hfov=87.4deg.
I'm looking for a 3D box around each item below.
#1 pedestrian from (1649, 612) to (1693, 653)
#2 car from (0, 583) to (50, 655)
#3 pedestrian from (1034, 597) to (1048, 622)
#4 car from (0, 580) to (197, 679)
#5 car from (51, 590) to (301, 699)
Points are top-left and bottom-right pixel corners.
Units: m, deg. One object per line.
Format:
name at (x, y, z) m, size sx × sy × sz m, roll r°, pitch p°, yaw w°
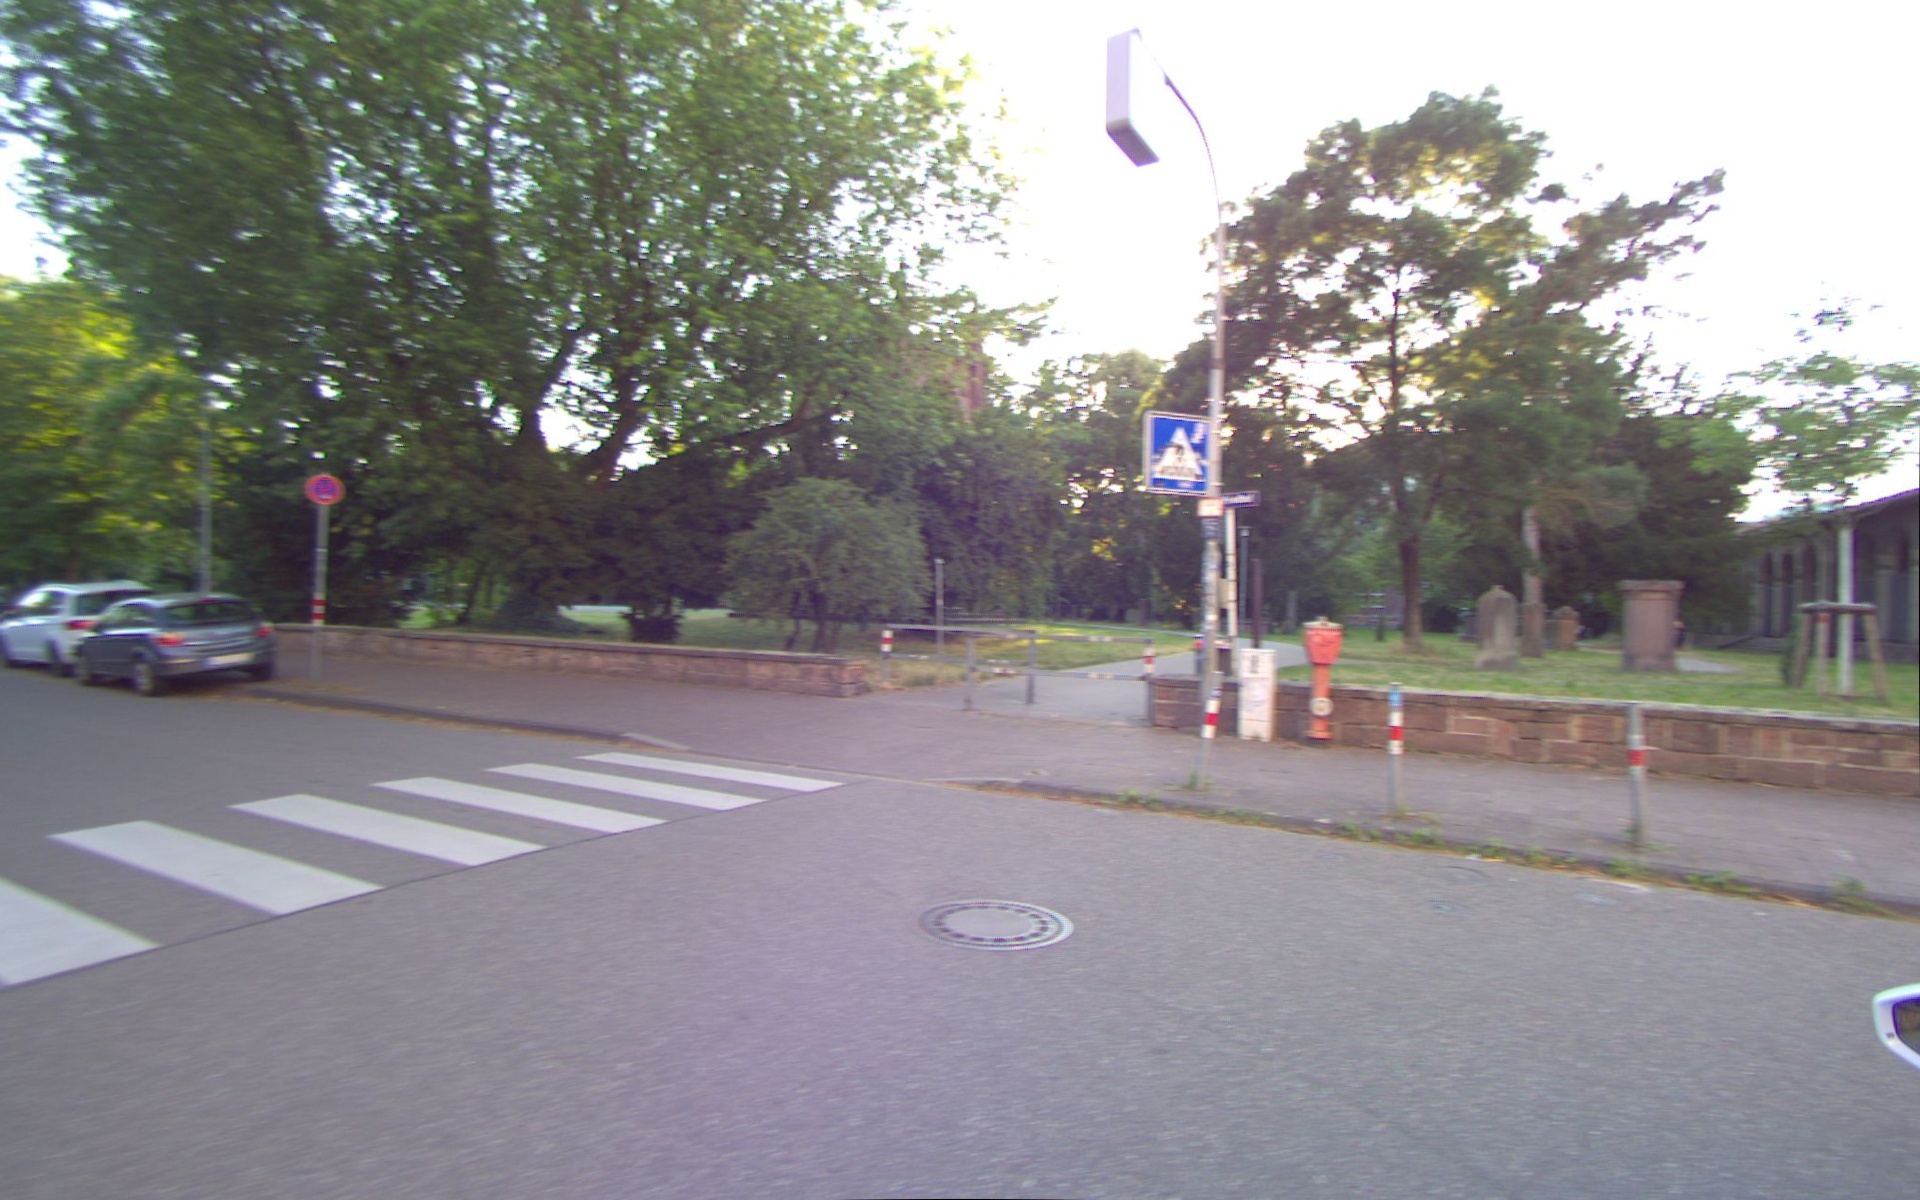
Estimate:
pedestrian at (25.895, 1.189, 36.558) m, size 1.261 × 1.445 × 1.233 m, roll 0°, pitch -1°, yaw 37°
car at (-22.329, 0.419, 22.413) m, size 3.814 × 1.497 × 1.784 m, roll 1°, pitch 4°, yaw 29°
pedestrian at (5.560, 0.655, 68.979) m, size 0.663 × 1.691 × 0.658 m, roll 1°, pitch 0°, yaw -43°
car at (-16.410, 0.476, 18.913) m, size 3.814 × 1.599 × 1.784 m, roll 1°, pitch 4°, yaw 29°
car at (-12.674, 0.627, 16.221) m, size 3.814 × 1.471 × 1.784 m, roll 1°, pitch 4°, yaw 29°
